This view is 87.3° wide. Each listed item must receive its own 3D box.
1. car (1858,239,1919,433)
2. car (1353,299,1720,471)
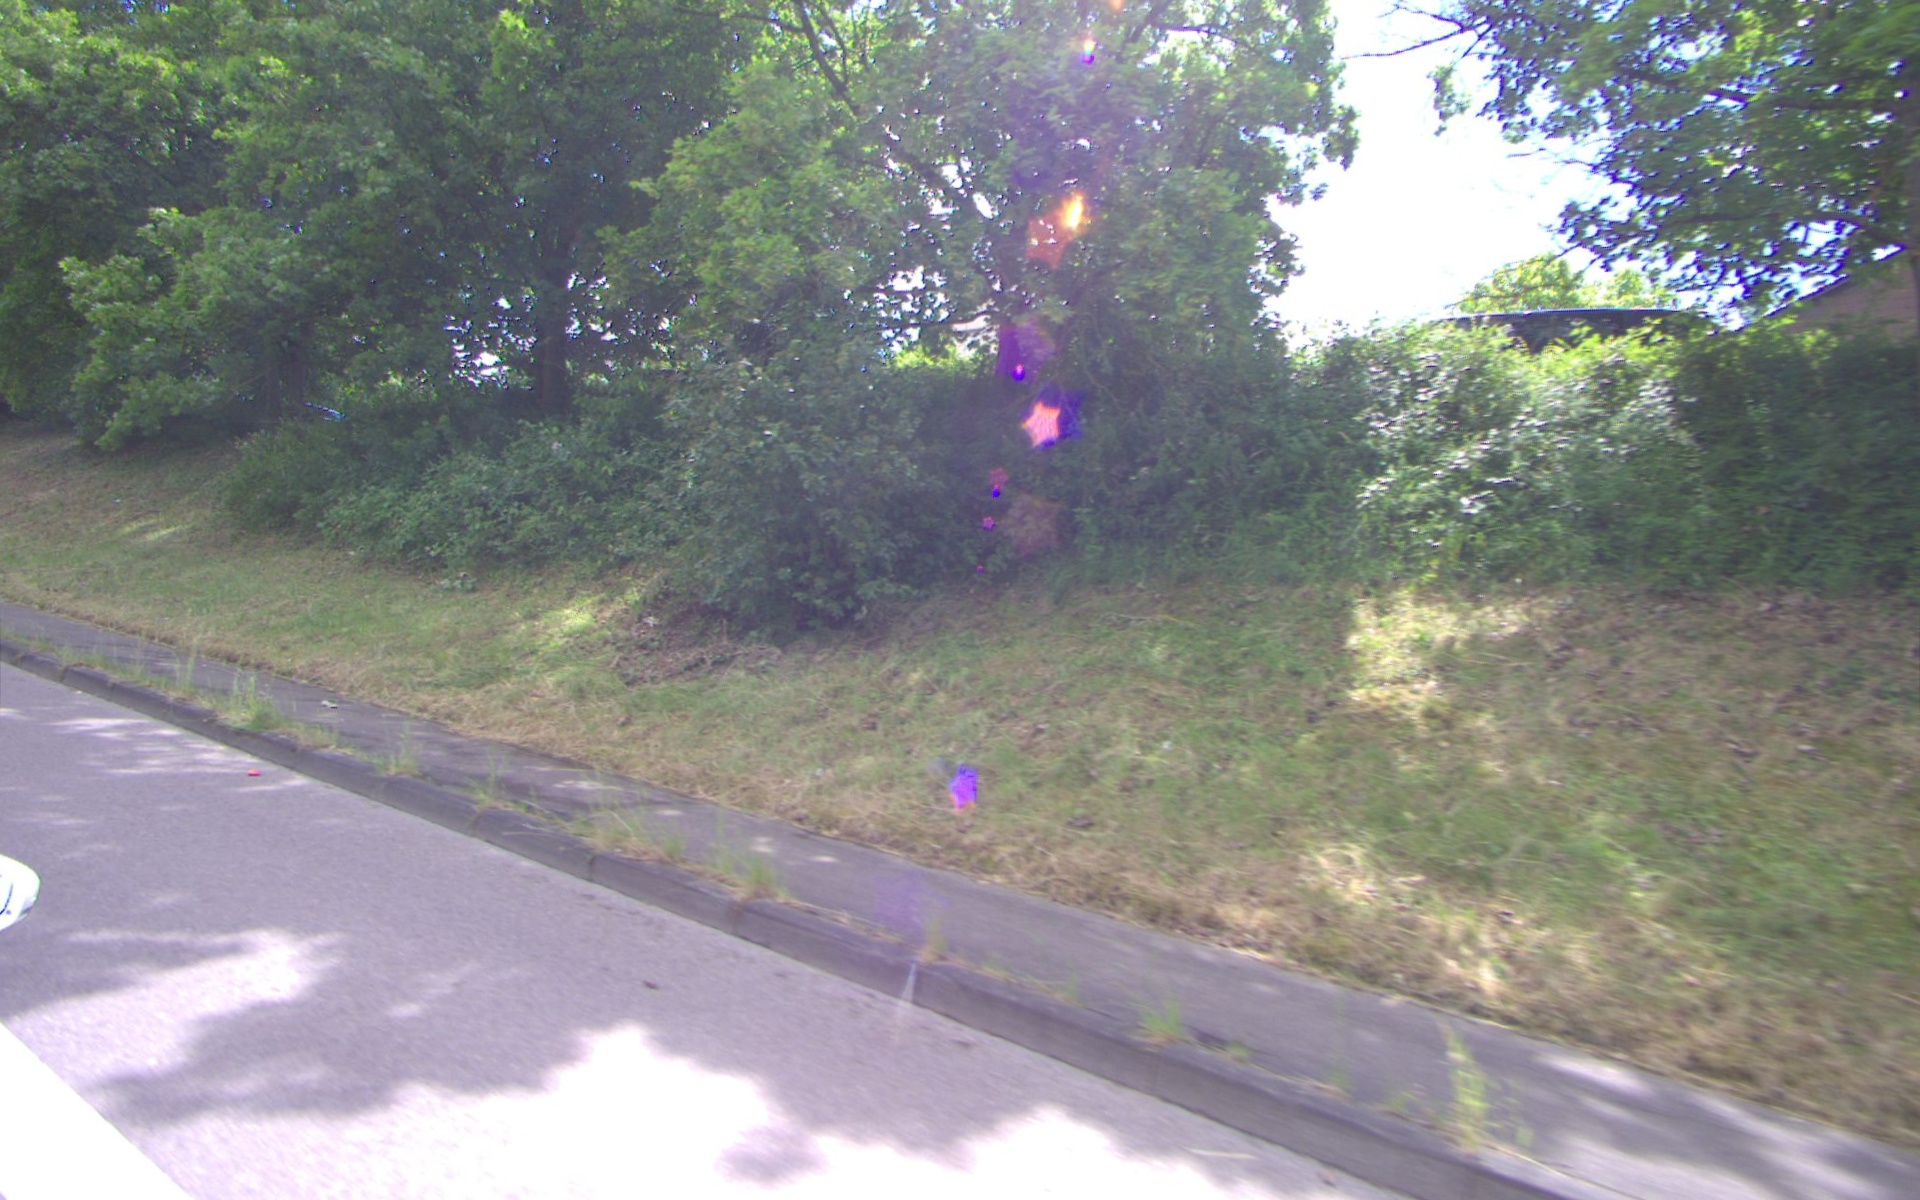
[{"bbox_3d":[12.375,-2.793,10.585,3.977,1.706,1.647,7,-2,32],"label":"car"},{"bbox_3d":[7.716,-2.853,13.766,3.977,1.706,1.647,7,-2,32],"label":"car"}]
